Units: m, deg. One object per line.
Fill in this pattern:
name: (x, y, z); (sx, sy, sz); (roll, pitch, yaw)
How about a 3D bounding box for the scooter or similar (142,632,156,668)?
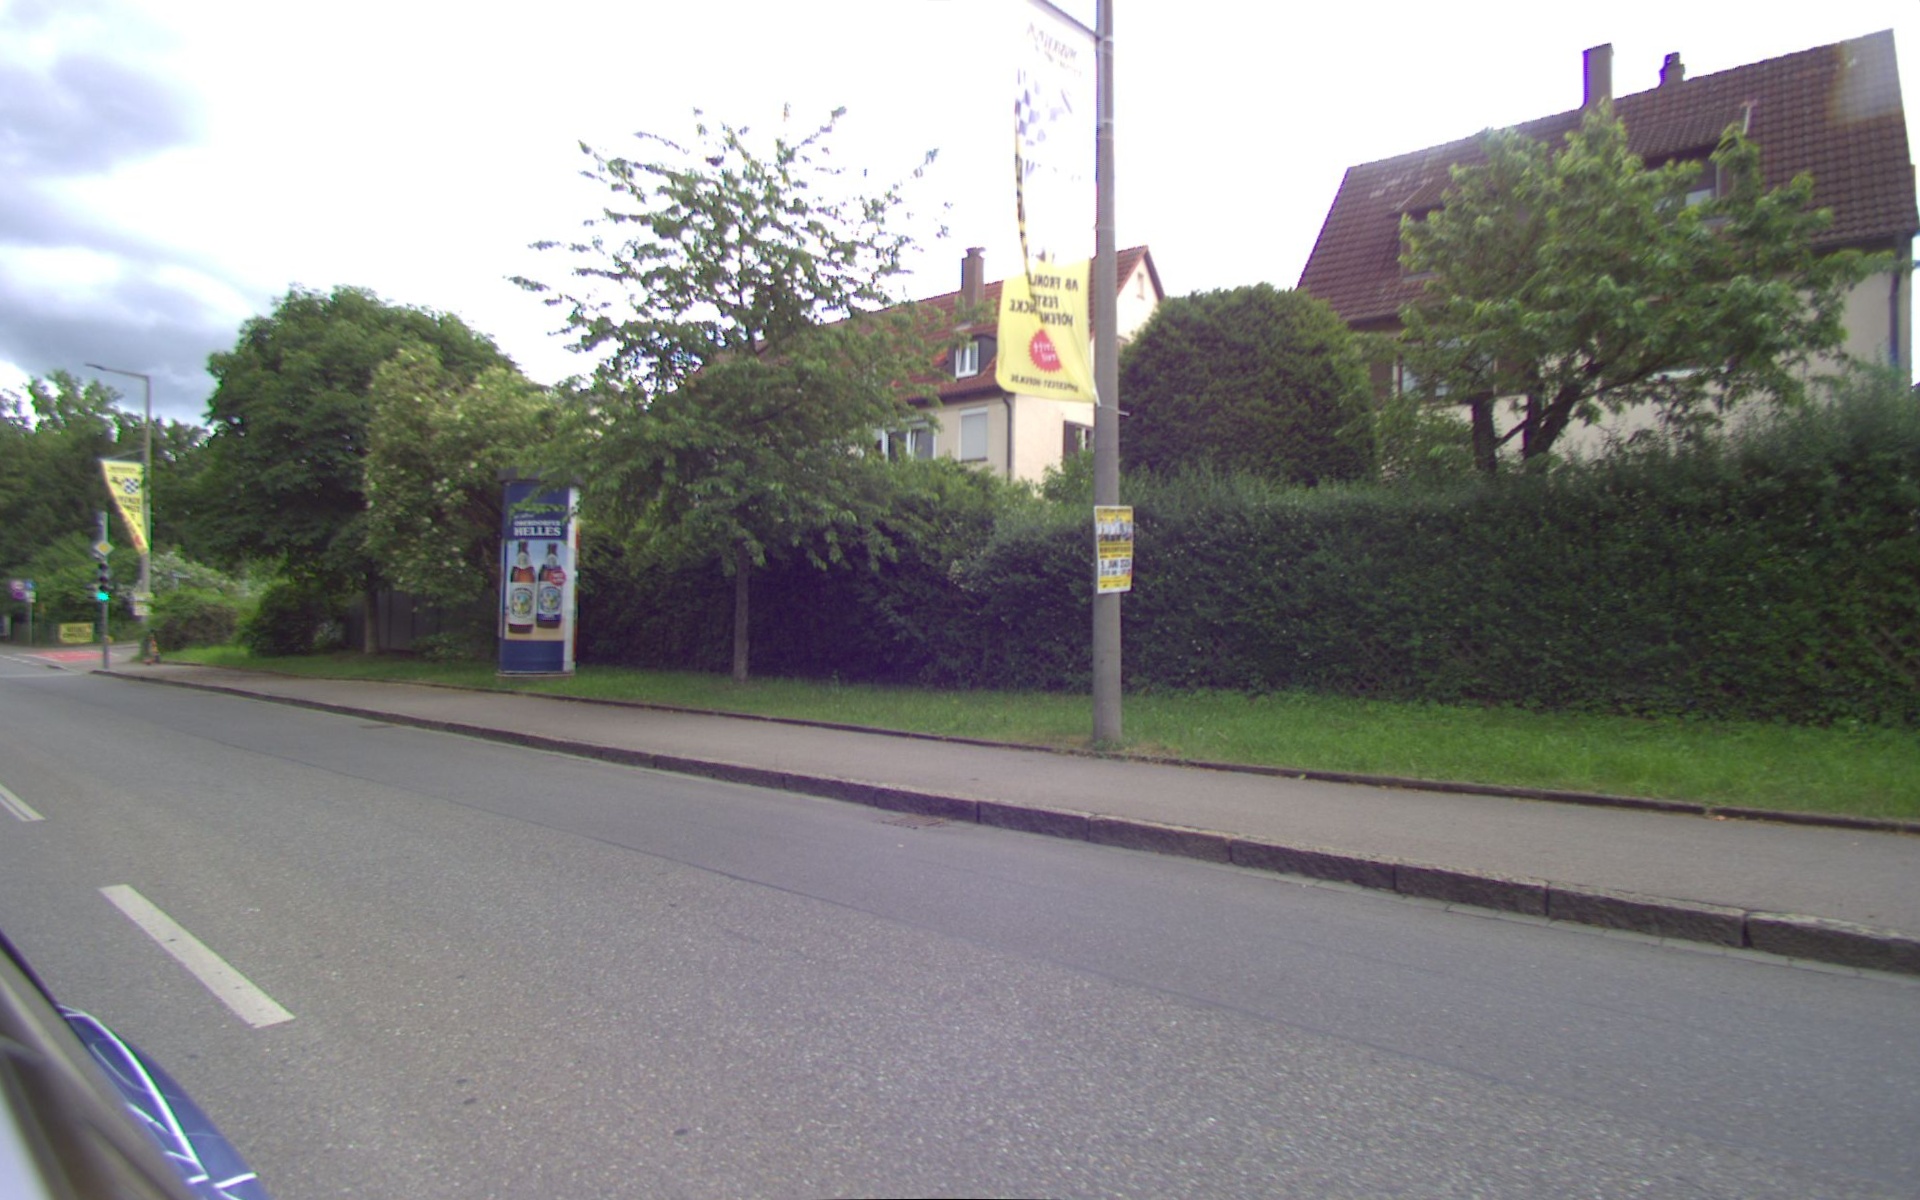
scooter or similar: (-27.953, 1.721, 34.875); (0.250, 1.225, 1.280); (1, -2, -45)
